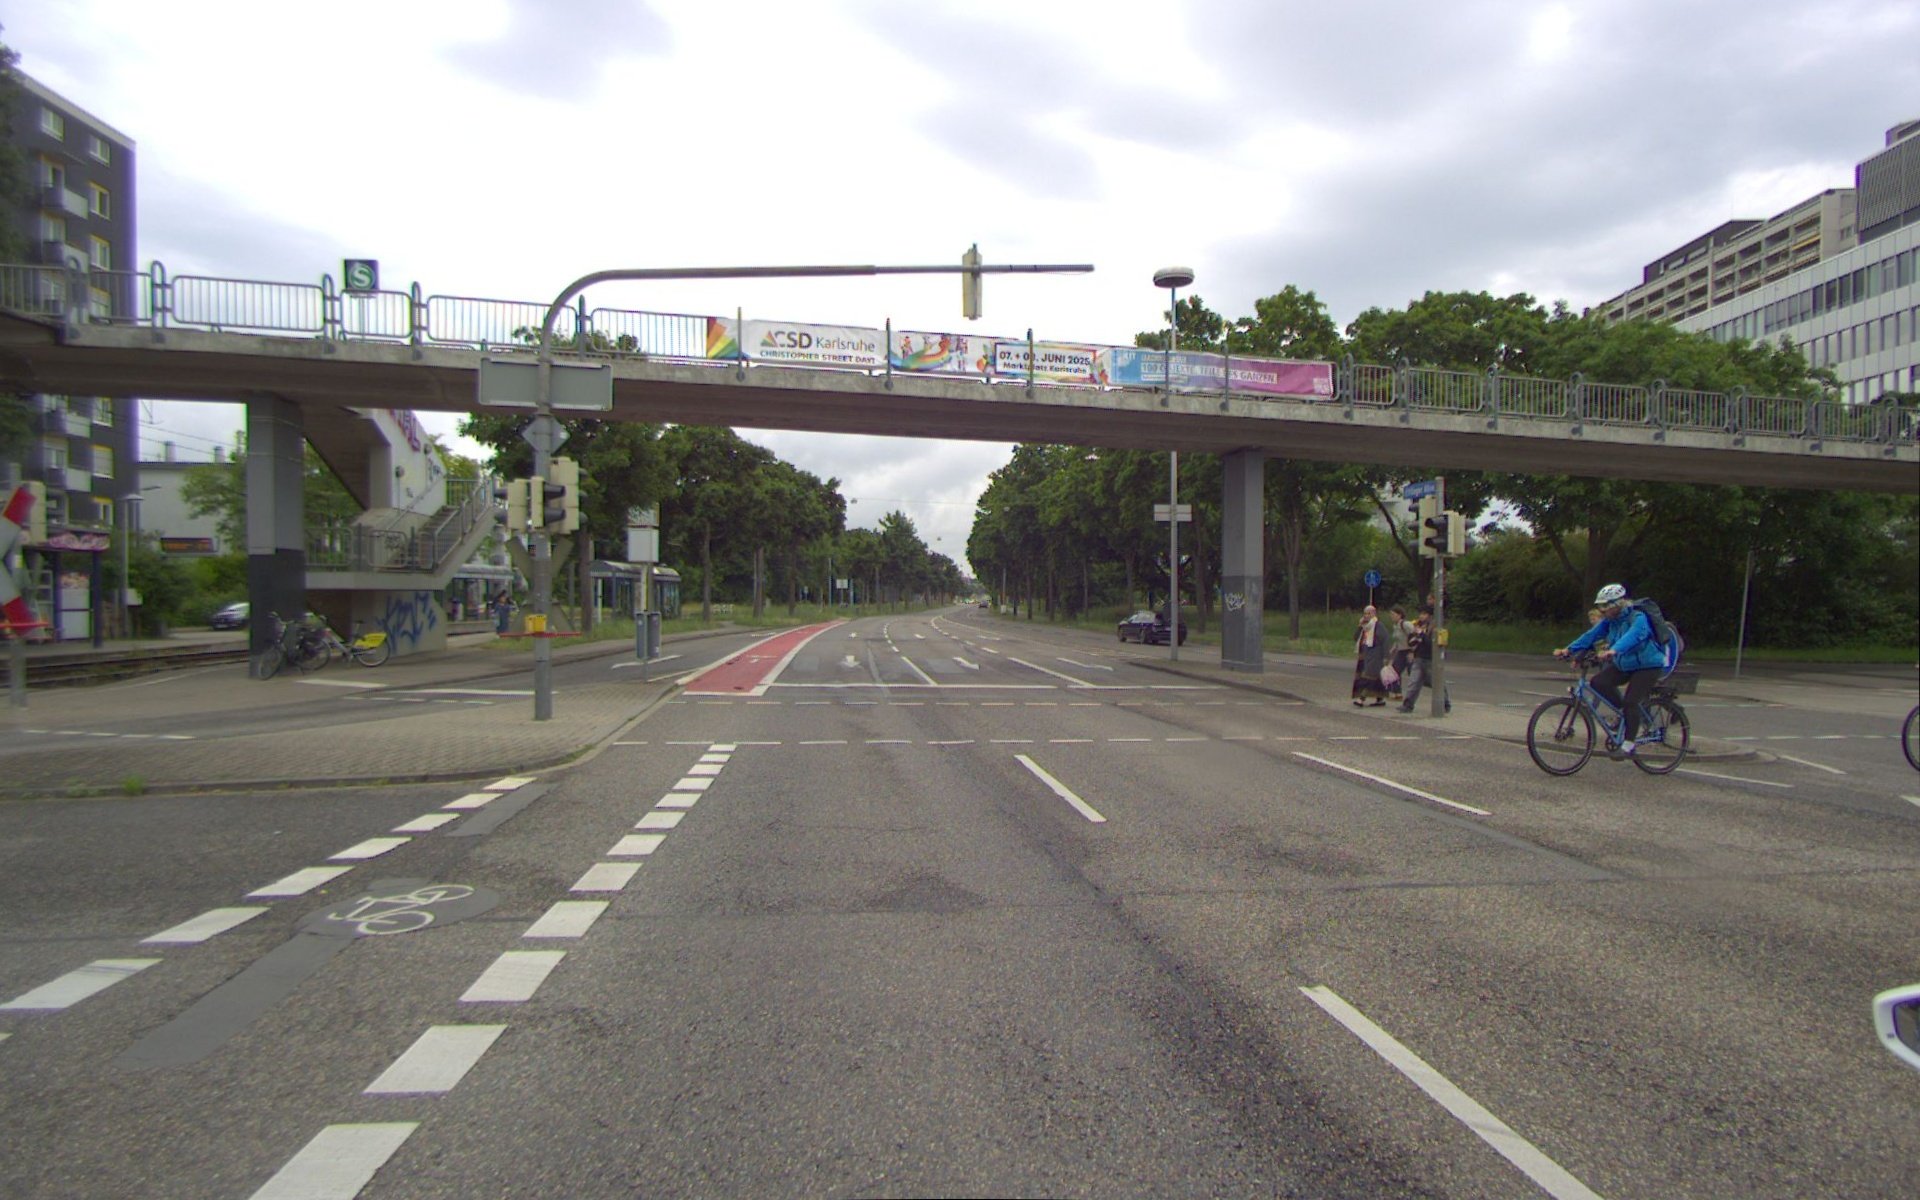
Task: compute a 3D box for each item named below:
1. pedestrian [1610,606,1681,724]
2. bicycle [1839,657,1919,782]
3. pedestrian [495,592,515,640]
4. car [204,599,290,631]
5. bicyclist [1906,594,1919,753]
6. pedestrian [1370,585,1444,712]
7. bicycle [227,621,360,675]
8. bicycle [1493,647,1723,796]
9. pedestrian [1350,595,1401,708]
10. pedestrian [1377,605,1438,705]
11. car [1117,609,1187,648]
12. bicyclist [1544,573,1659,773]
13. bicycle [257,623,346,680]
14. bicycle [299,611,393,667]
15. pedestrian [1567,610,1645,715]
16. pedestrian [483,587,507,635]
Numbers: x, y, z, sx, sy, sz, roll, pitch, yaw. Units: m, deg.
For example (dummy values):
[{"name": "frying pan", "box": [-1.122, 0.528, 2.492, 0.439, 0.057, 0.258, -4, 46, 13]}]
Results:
[{"name": "pedestrian", "box": [9.770, 0.909, 14.327, 0.480, 1.626, 0.686, 0, 0, -17]}, {"name": "bicycle", "box": [9.972, 1.144, 9.970, 2.225, 1.116, 0.727, 0, 0, -14]}, {"name": "pedestrian", "box": [-15.237, 0.539, 33.643, 0.550, 1.585, 0.334, 0, 0, -13]}, {"name": "car", "box": [-35.989, 0.736, 50.819, 1.636, 1.581, 3.999, 0, 0, -2]}, {"name": "bicyclist", "box": [10.087, 0.747, 10.010, 0.683, 1.616, 0.679, 1, 0, -13]}, {"name": "pedestrian", "box": [6.626, 0.694, 14.904, 0.790, 1.828, 0.635, 0, 0, -22]}, {"name": "bicycle", "box": [-12.388, 0.864, 18.778, 0.546, 0.900, 2.408, 0, 0, 11]}, {"name": "bicycle", "box": [6.098, 1.106, 9.458, 2.075, 1.284, 0.543, 0, 0, -14]}, {"name": "pedestrian", "box": [6.434, 0.780, 15.550, 0.400, 1.714, 0.616, 0, 1, -27]}, {"name": "pedestrian", "box": [7.319, 0.877, 16.439, 0.773, 1.600, 0.576, 0, 0, -32]}, {"name": "car", "box": [8.249, 1.180, 43.604, 1.642, 1.528, 4.391, -1, 0, -8]}, {"name": "bicyclist", "box": [5.981, 0.656, 9.392, 0.635, 1.792, 0.644, 0, 0, -12]}, {"name": "bicycle", "box": [-12.314, 0.934, 18.857, 0.367, 0.934, 2.037, 1, 1, -1]}, {"name": "bicycle", "box": [-12.472, 0.775, 20.422, 1.602, 1.109, 0.347, 0, 0, -40]}, {"name": "pedestrian", "box": [9.772, 0.923, 15.215, 0.398, 1.531, 0.915, 0, 0, -23]}, {"name": "pedestrian", "box": [-16.175, 0.388, 34.944, 0.591, 1.664, 0.662, 0, 0, -8]}]
